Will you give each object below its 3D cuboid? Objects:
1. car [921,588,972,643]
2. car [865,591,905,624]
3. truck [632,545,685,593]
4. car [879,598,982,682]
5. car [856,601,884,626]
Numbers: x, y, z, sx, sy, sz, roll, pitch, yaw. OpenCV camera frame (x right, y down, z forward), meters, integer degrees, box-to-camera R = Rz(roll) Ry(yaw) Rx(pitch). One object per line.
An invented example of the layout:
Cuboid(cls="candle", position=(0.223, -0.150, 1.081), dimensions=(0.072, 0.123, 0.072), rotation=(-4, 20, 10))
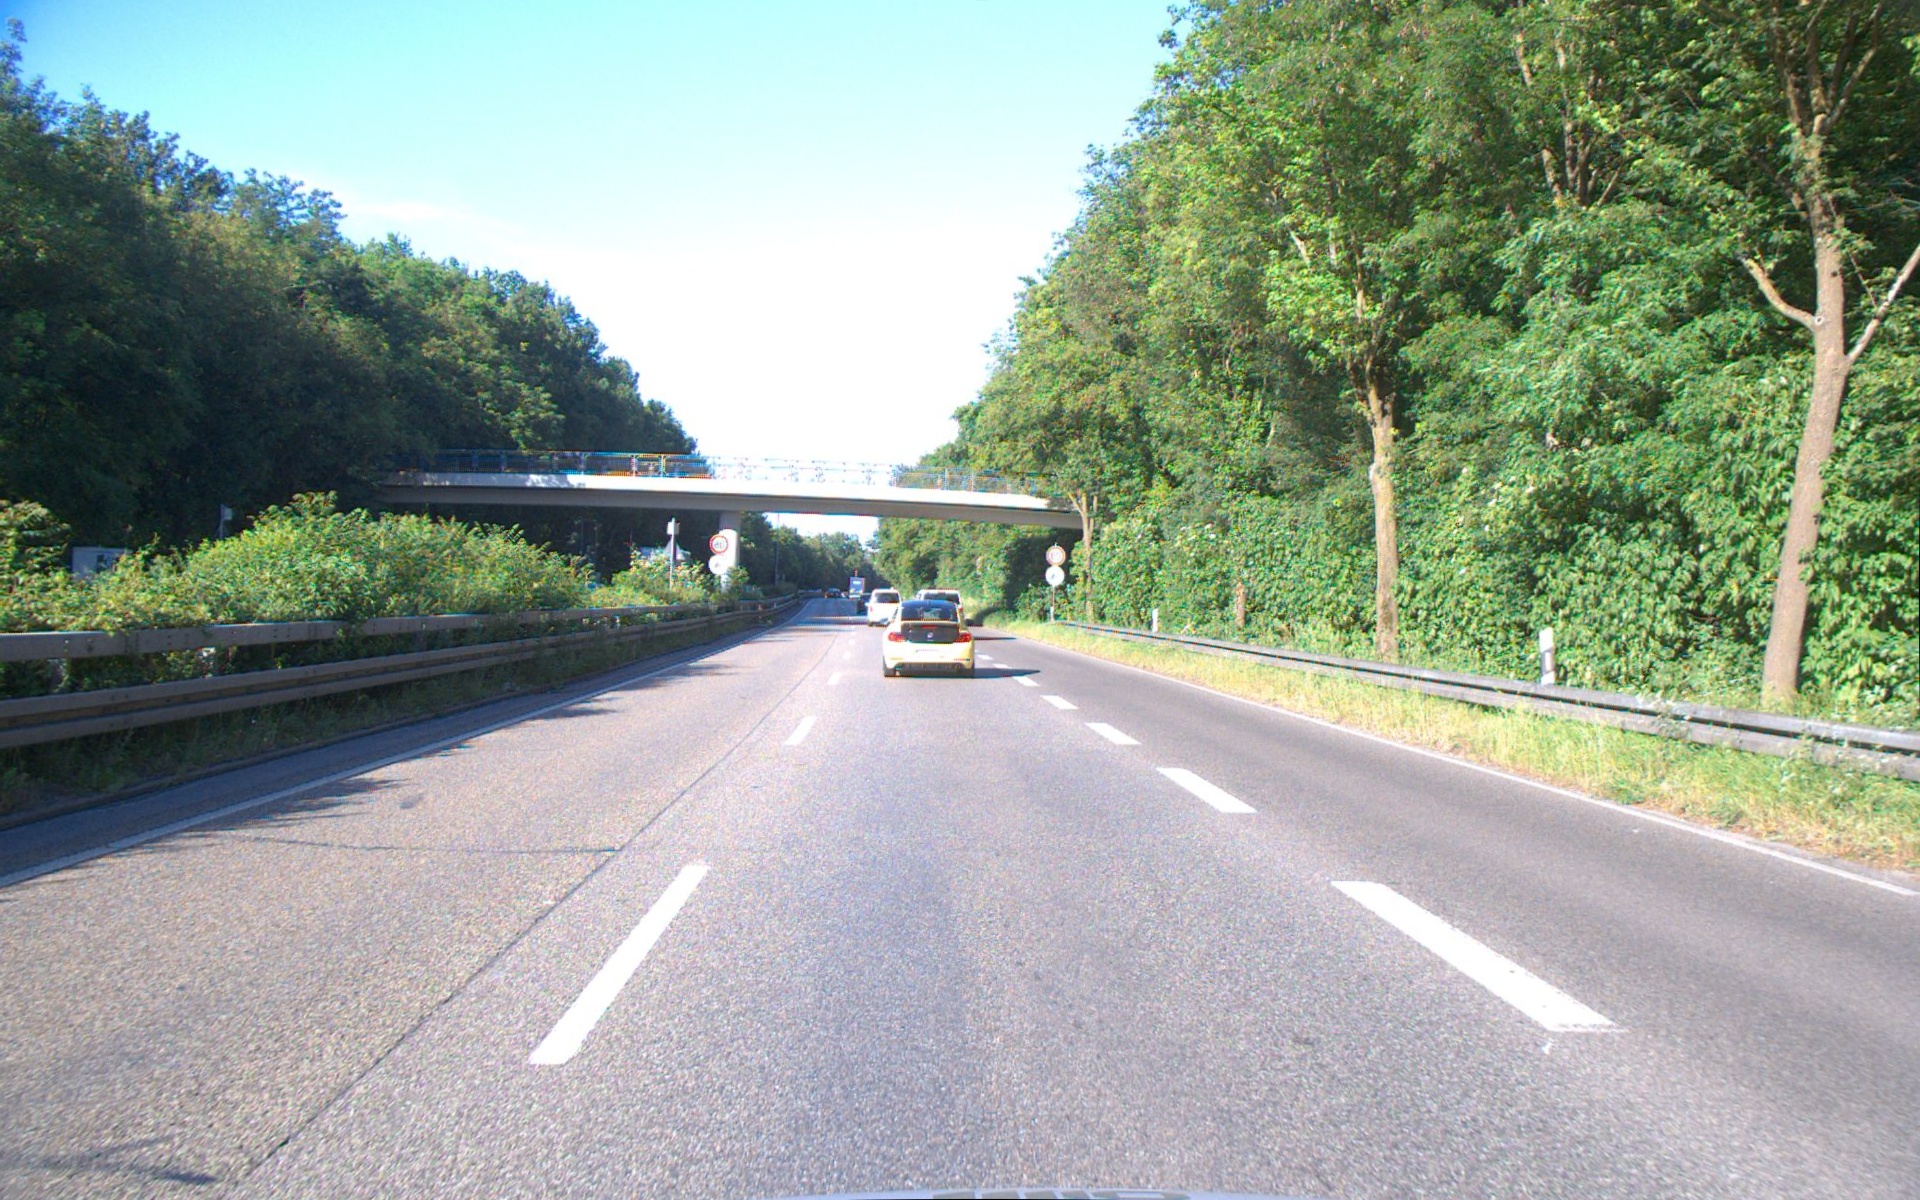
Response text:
Cuboid(cls="car", position=(-0.509, 0.556, 60.377), dimensions=(1.706, 1.861, 3.421), rotation=(4, 0, -1))
Cuboid(cls="car", position=(-3.666, 0.358, 81.489), dimensions=(1.900, 1.572, 3.421), rotation=(1, 0, -2))
Cuboid(cls="truck", position=(-21.515, -2.149, 118.358), dimensions=(2.871, 3.223, 7.078), rotation=(1, 0, -3))
Cuboid(cls="car", position=(-0.573, 0.764, 32.742), dimensions=(1.900, 1.535, 3.421), rotation=(1, 0, -1))
Cuboid(cls="car", position=(-6.682, 0.966, 122.604), dimensions=(1.954, 1.780, 4.369), rotation=(1, 0, -4))
